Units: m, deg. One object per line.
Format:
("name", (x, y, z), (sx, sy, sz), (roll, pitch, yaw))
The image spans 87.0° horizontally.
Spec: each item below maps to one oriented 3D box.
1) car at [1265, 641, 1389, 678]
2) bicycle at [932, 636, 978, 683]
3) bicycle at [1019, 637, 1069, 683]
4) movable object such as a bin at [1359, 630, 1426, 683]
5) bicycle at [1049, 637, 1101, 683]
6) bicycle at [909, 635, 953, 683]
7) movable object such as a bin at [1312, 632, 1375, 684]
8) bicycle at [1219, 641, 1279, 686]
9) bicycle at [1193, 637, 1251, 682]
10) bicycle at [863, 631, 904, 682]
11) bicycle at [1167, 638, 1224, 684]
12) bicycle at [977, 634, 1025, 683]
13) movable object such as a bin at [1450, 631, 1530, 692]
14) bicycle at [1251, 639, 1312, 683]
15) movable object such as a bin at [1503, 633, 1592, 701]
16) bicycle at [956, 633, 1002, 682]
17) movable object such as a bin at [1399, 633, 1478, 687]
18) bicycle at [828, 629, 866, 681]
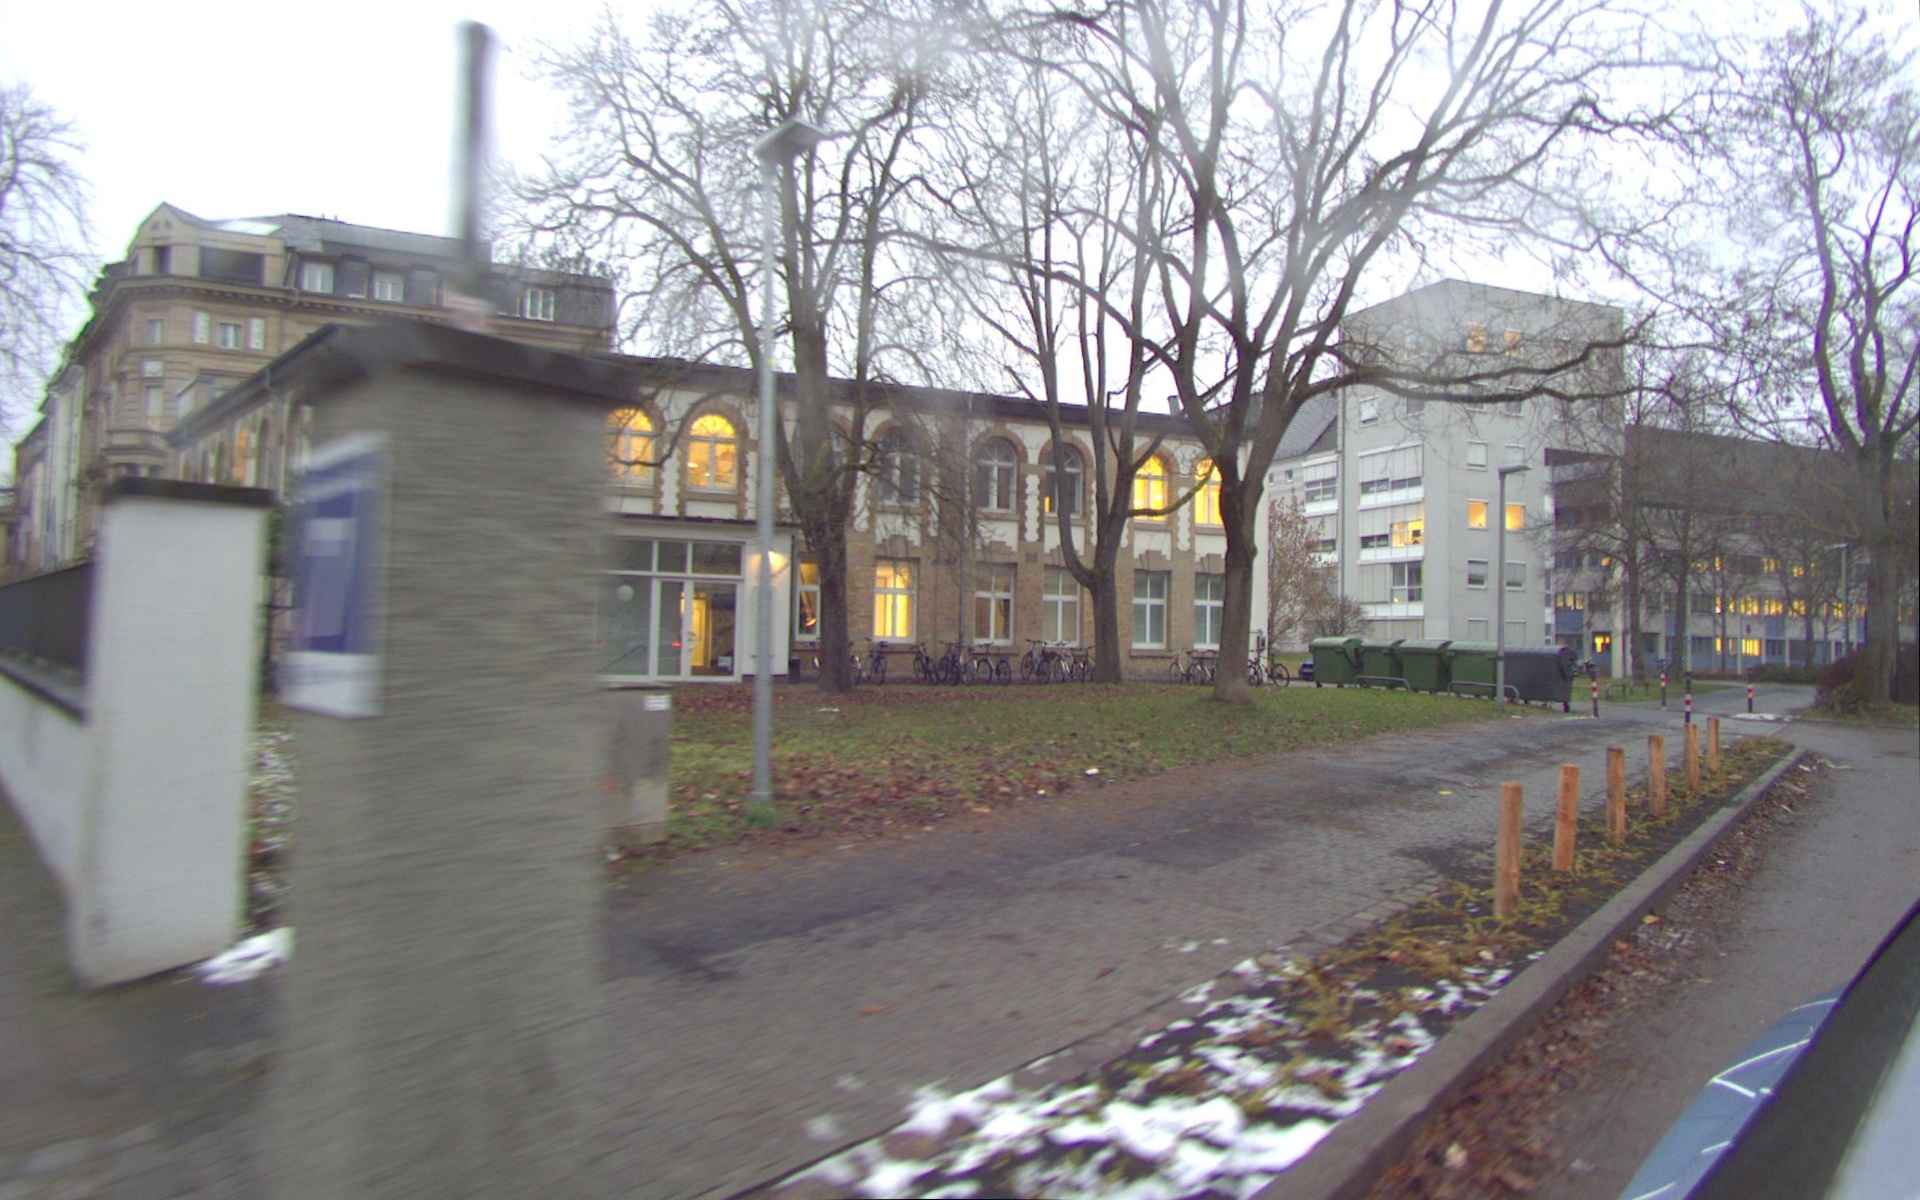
("car", (13.833, 2.238, 38.225), (3.916, 1.297, 2.003), (1, -1, -13))
("bicycle", (-0.148, 1.501, 25.825), (0.561, 1.029, 2.146), (2, 1, -16))
("bicycle", (2.186, 1.554, 26.617), (0.561, 1.106, 2.145), (2, -1, -16))
("movable object such as a bin", (11.091, 1.439, 25.975), (0.967, 1.296, 1.254), (2, -1, -23))
("bicycle", (3.028, 1.564, 26.917), (0.561, 1.125, 2.145), (2, -1, -16))
("bicycle", (-0.754, 1.478, 25.624), (0.561, 1.063, 2.146), (2, 0, -16))
("movable object such as a bin", (10.298, 1.537, 27.200), (0.967, 1.331, 1.266), (2, -1, -23))
("bicycle", (8.199, 1.793, 28.810), (0.561, 1.172, 2.145), (2, -1, -16))
("bicycle", (7.325, 1.650, 28.388), (0.561, 1.172, 2.145), (2, -1, -16))
("bicycle", (-1.917, 1.380, 25.064), (0.561, 1.172, 2.145), (2, -1, -16))
("bicycle", (6.509, 1.660, 28.081), (0.561, 1.172, 2.145), (2, -1, -16))
("bicycle", (1.047, 1.490, 26.192), (0.561, 1.172, 2.145), (2, -1, -16))
("movable object such as a bin", (12.117, 1.389, 23.166), (0.967, 1.331, 1.310), (2, -1, -23))
("bicycle", (9.168, 1.719, 28.925), (0.561, 1.172, 2.145), (2, -1, -16))
("movable object such as a bin", (12.676, 1.418, 21.850), (1.043, 1.333, 1.324), (2, 0, -36))
("bicycle", (0.470, 1.456, 26.006), (0.561, 1.172, 2.145), (2, -1, -16))
("movable object such as a bin", (11.570, 1.441, 24.516), (0.967, 1.241, 1.440), (2, -1, -23))
("bicycle", (-2.785, 1.324, 24.793), (0.561, 1.172, 2.145), (2, -1, -16))
